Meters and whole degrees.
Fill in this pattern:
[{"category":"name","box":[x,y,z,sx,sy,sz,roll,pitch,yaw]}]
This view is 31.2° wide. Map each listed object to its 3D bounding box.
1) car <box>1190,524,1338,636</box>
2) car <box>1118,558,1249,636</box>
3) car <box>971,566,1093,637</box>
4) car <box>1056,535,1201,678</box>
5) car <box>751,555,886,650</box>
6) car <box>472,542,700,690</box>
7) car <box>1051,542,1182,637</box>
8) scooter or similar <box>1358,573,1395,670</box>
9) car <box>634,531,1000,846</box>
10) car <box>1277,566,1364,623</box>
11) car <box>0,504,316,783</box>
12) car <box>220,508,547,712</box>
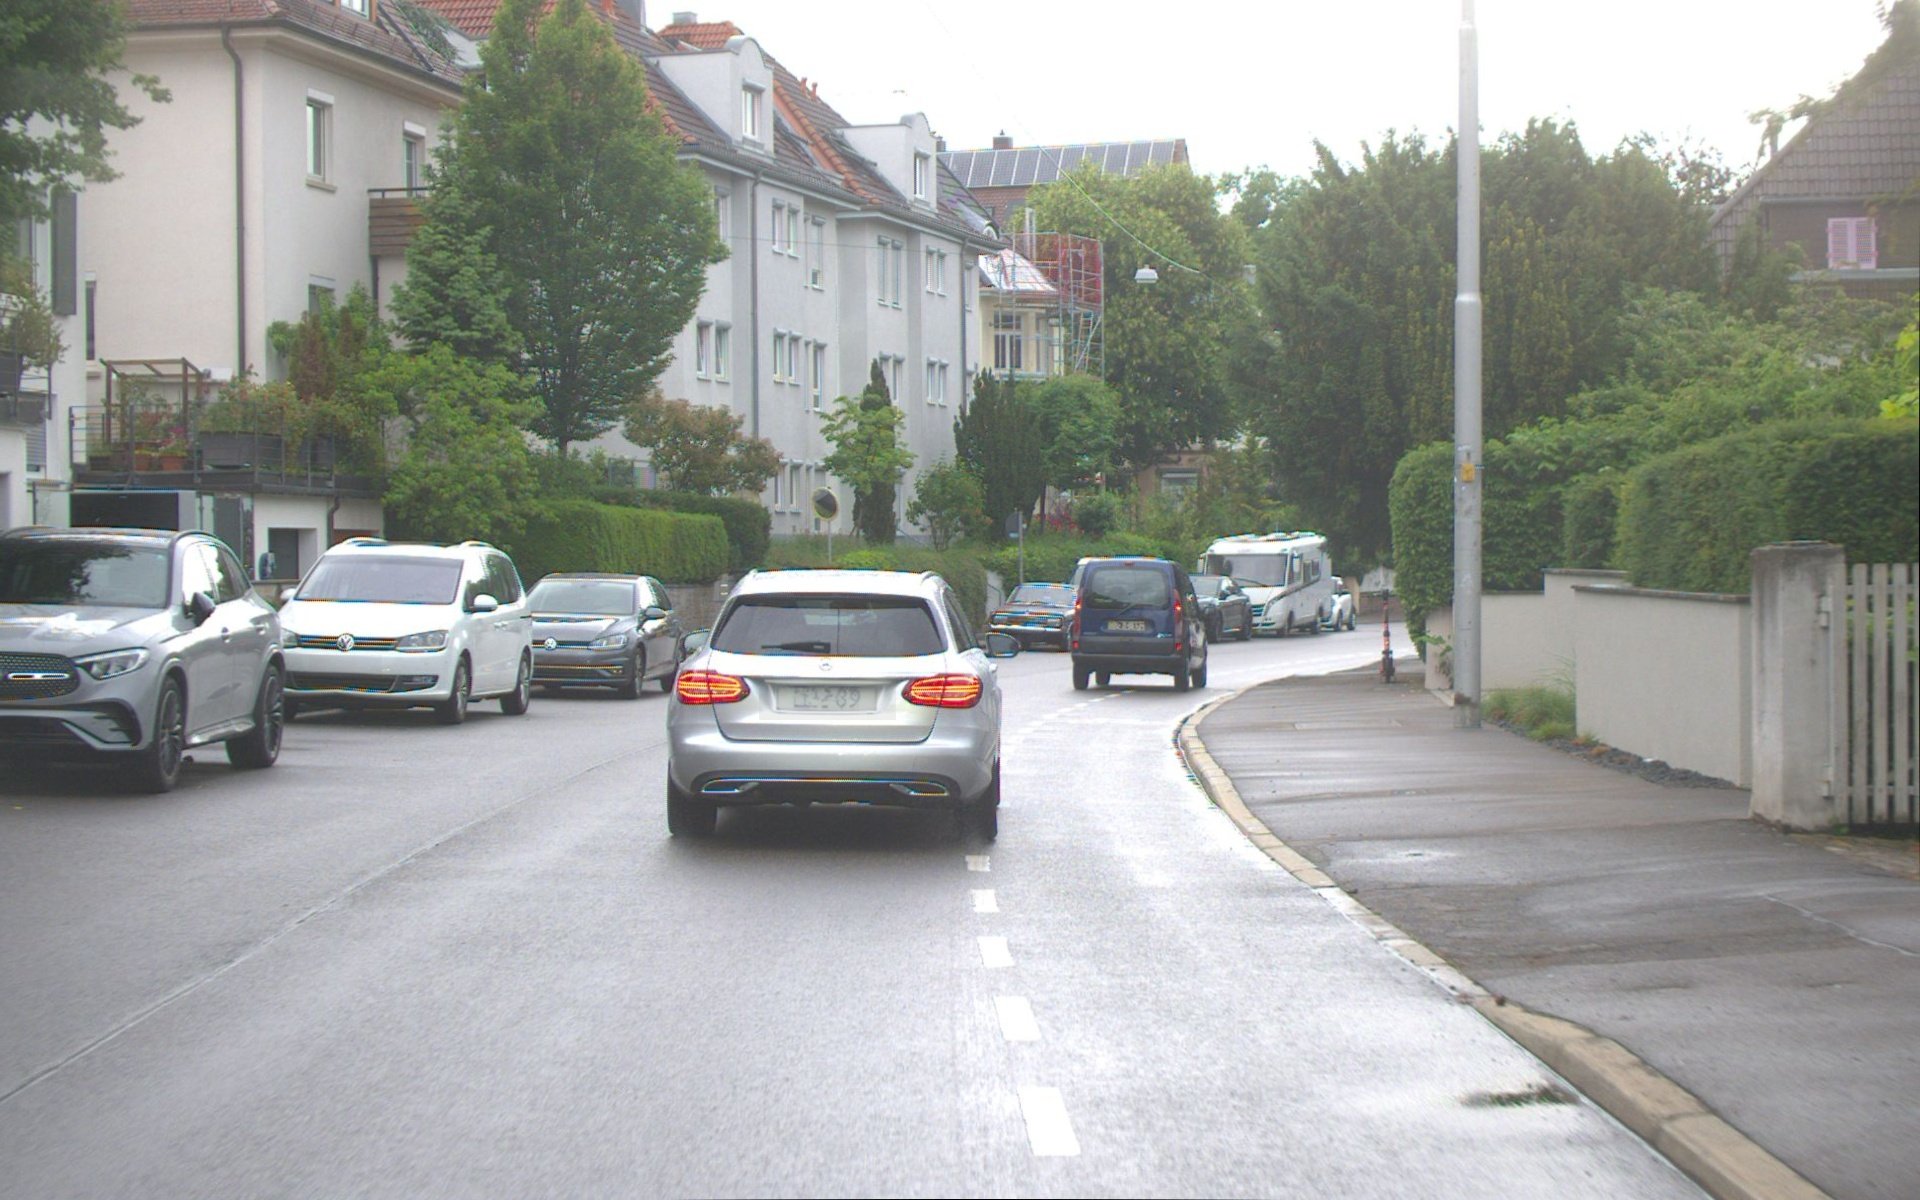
[{"category":"car","box":[8.211,-0.586,92.225,2.393,2.762,6.526,2,2,19]},{"category":"car","box":[5.566,-0.092,84.998,1.995,1.682,4.672,2,3,19]},{"category":"car","box":[1.575,0.001,73.321,1.644,1.412,4.610,2,1,13]},{"category":"car","box":[2.428,0.079,48.847,1.843,1.897,3.999,1,0,5]},{"category":"car","box":[-2.297,0.031,56.581,1.605,1.481,3.486,1,0,7]},{"category":"car","box":[-4.412,0.157,41.150,1.792,1.575,4.137,3,1,6]},{"category":"car","box":[3.608,-0.240,78.466,1.831,2.049,5.006,2,0,16]},{"category":"scooter or similar","box":[5.718,0.288,47.166,0.450,1.303,1.481,-1,0,8]},{"category":"car","box":[-0.744,0.409,19.485,1.816,1.551,4.000,2,1,0]},{"category":"car","box":[10.223,-0.181,97.361,1.714,1.442,3.252,2,3,19]},{"category":"car","box":[-5.779,0.197,22.671,1.993,1.575,4.761,3,1,1]},{"category":"car","box":[-5.381,0.052,32.736,1.994,1.696,4.738,3,1,3]}]
